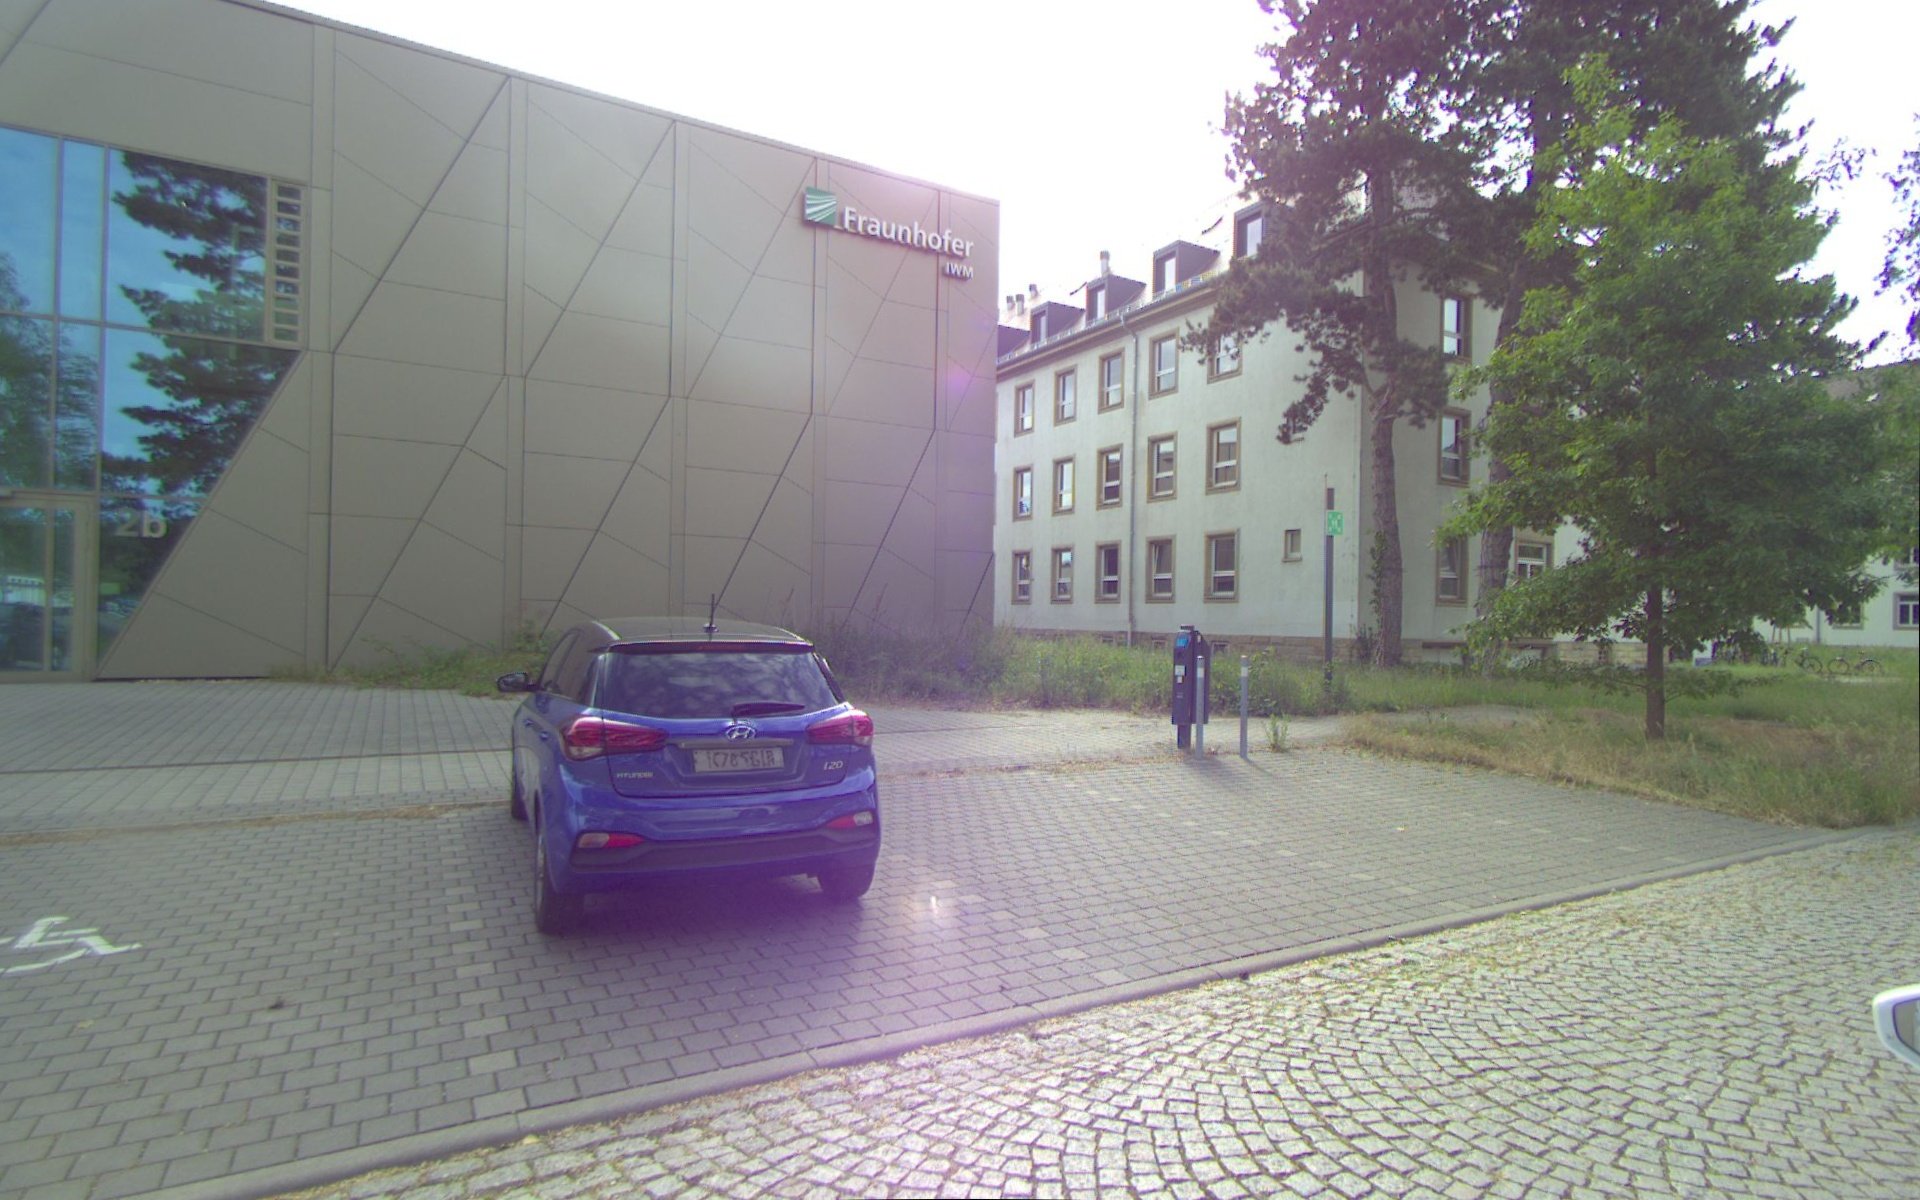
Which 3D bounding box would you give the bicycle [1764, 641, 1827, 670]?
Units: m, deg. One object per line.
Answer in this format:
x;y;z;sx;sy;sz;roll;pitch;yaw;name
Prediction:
33.950;2.237;40.834;0.729;1.090;1.849;1;-1;-27;bicycle

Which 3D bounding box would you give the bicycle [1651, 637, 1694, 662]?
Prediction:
32.549;2.274;45.854;2.246;1.090;0.732;2;-1;-30;bicycle

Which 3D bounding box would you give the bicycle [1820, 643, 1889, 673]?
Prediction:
34.892;2.235;39.206;0.821;1.090;1.849;2;-1;-27;bicycle

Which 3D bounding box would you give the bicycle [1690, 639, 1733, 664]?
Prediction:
33.571;2.305;44.862;2.246;1.090;0.732;2;-1;-30;bicycle

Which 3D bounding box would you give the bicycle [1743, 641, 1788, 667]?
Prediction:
34.298;2.291;42.759;2.246;1.090;0.732;2;-1;-30;bicycle

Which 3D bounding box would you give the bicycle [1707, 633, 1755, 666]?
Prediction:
33.867;2.164;44.109;2.679;1.404;0.732;2;-1;-30;bicycle

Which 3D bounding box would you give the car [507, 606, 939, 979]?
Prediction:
-1.771;0.849;6.347;1.828;1.498;3.752;2;0;-27;car

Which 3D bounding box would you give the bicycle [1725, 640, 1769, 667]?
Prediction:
33.920;2.299;43.279;2.246;1.090;0.732;2;-1;-30;bicycle

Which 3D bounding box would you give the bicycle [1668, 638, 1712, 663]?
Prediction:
32.841;2.270;45.178;2.246;1.090;0.732;2;-1;-30;bicycle
